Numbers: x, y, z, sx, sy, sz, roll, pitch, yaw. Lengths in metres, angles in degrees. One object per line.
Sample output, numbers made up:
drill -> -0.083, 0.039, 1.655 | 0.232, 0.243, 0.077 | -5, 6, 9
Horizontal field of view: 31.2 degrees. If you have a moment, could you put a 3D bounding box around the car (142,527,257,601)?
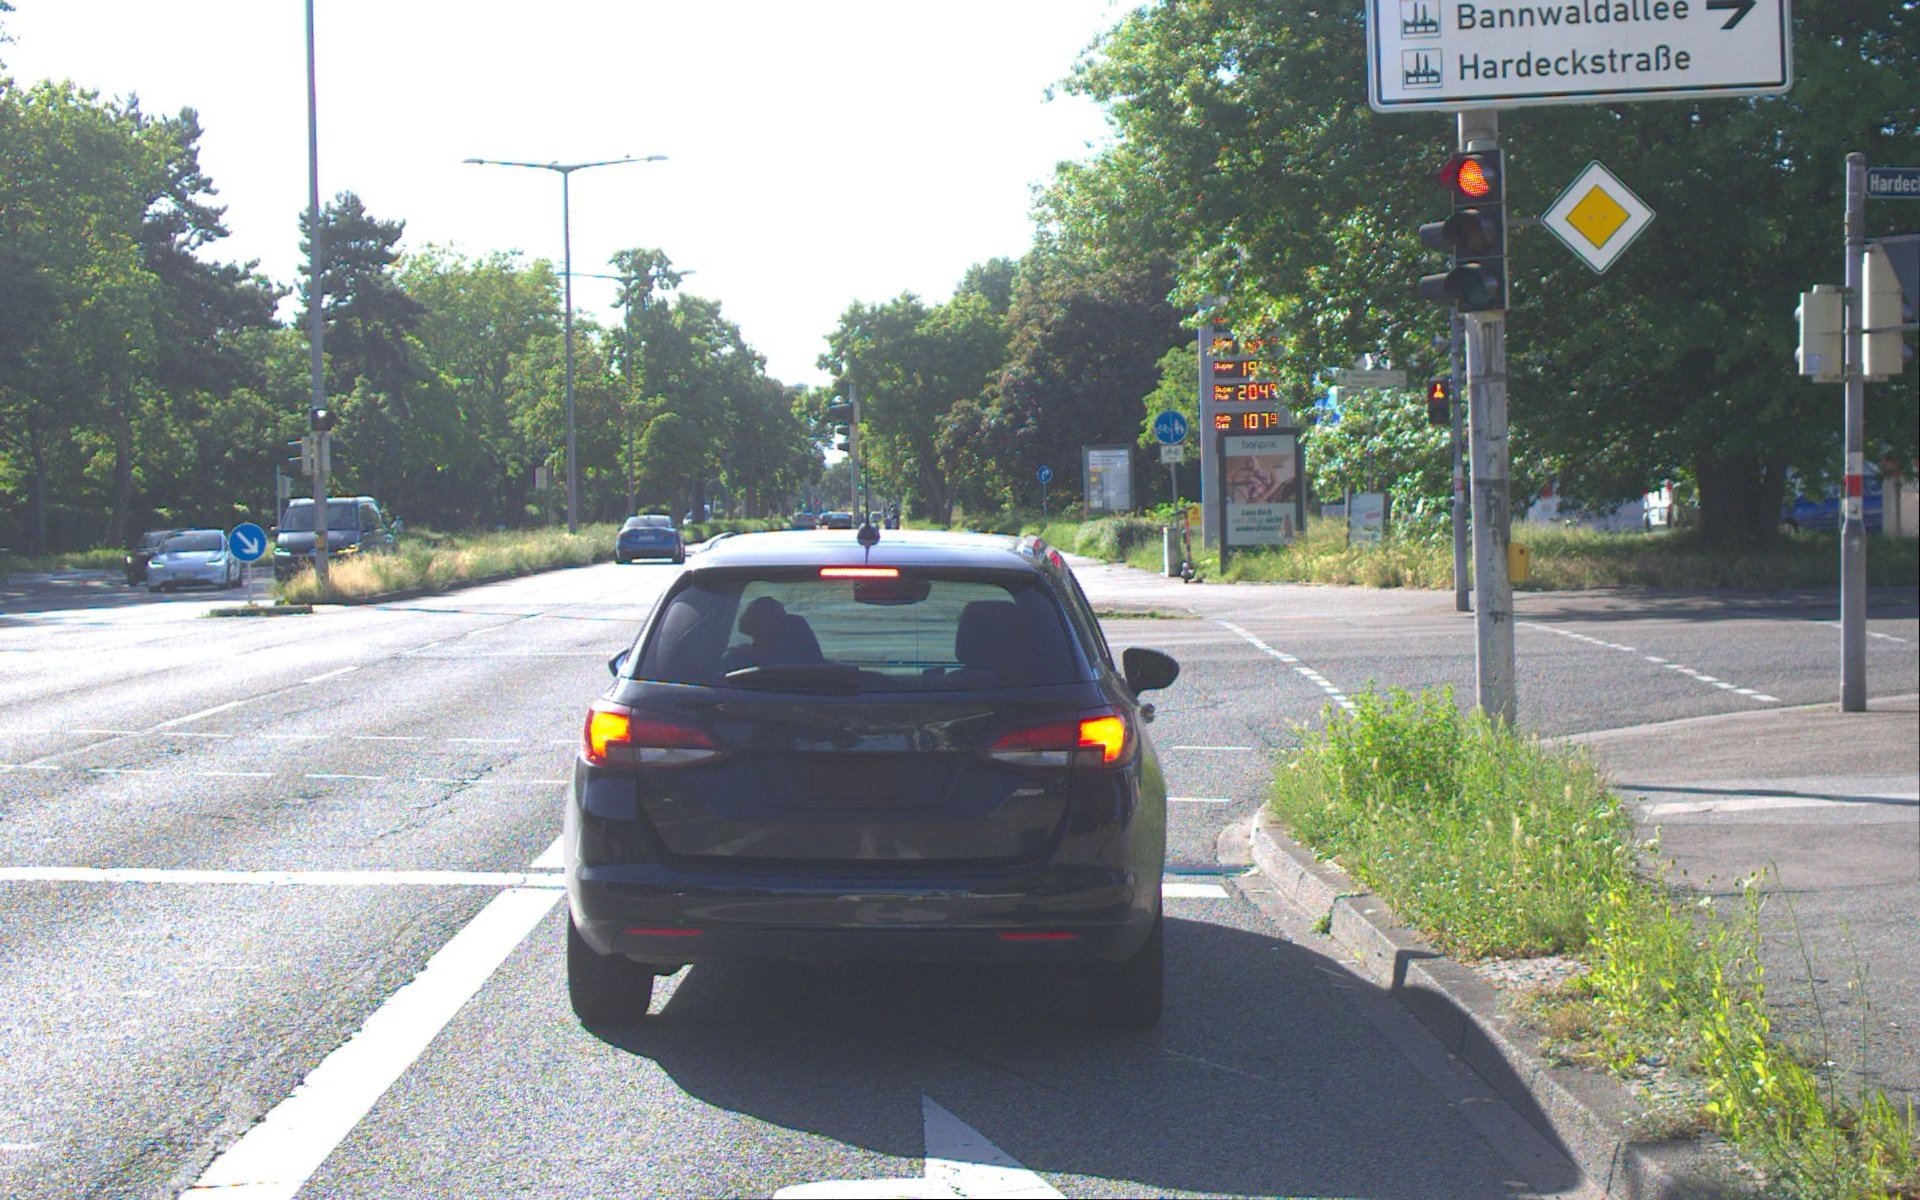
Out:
car -> -17.947, -0.862, 81.299 | 1.864, 1.678, 4.000 | 1, 1, -1

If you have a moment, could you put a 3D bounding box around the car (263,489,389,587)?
car -> -13.577, -1.322, 73.868 | 1.993, 2.007, 4.000 | 1, 1, -1

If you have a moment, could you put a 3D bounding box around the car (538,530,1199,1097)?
car -> -0.275, 0.538, 11.071 | 1.755, 1.504, 3.809 | 0, 1, -1

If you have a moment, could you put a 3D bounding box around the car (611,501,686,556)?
car -> -9.162, -2.090, 101.279 | 1.888, 1.546, 4.000 | -1, 1, -1

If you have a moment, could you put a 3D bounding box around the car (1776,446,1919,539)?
car -> 16.575, -1.883, 61.181 | 3.836, 1.558, 1.805 | 1, 1, -33

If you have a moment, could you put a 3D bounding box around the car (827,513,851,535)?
car -> -9.083, -5.675, 258.004 | 1.732, 1.579, 3.840 | 1, 1, -1

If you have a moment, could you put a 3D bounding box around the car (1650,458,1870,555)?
car -> 14.801, -1.713, 63.581 | 3.711, 1.679, 1.704 | 1, 1, -27

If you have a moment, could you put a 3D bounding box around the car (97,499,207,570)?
car -> -21.984, -1.805, 93.667 | 1.993, 1.743, 4.001 | -3, 2, -1

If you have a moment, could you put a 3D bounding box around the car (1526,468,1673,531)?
car -> 17.918, -2.802, 96.352 | 3.711, 1.679, 1.704 | 1, 1, -3

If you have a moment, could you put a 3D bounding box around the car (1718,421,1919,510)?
car -> 17.398, -2.696, 69.419 | 3.711, 1.679, 1.704 | 1, 1, -3
